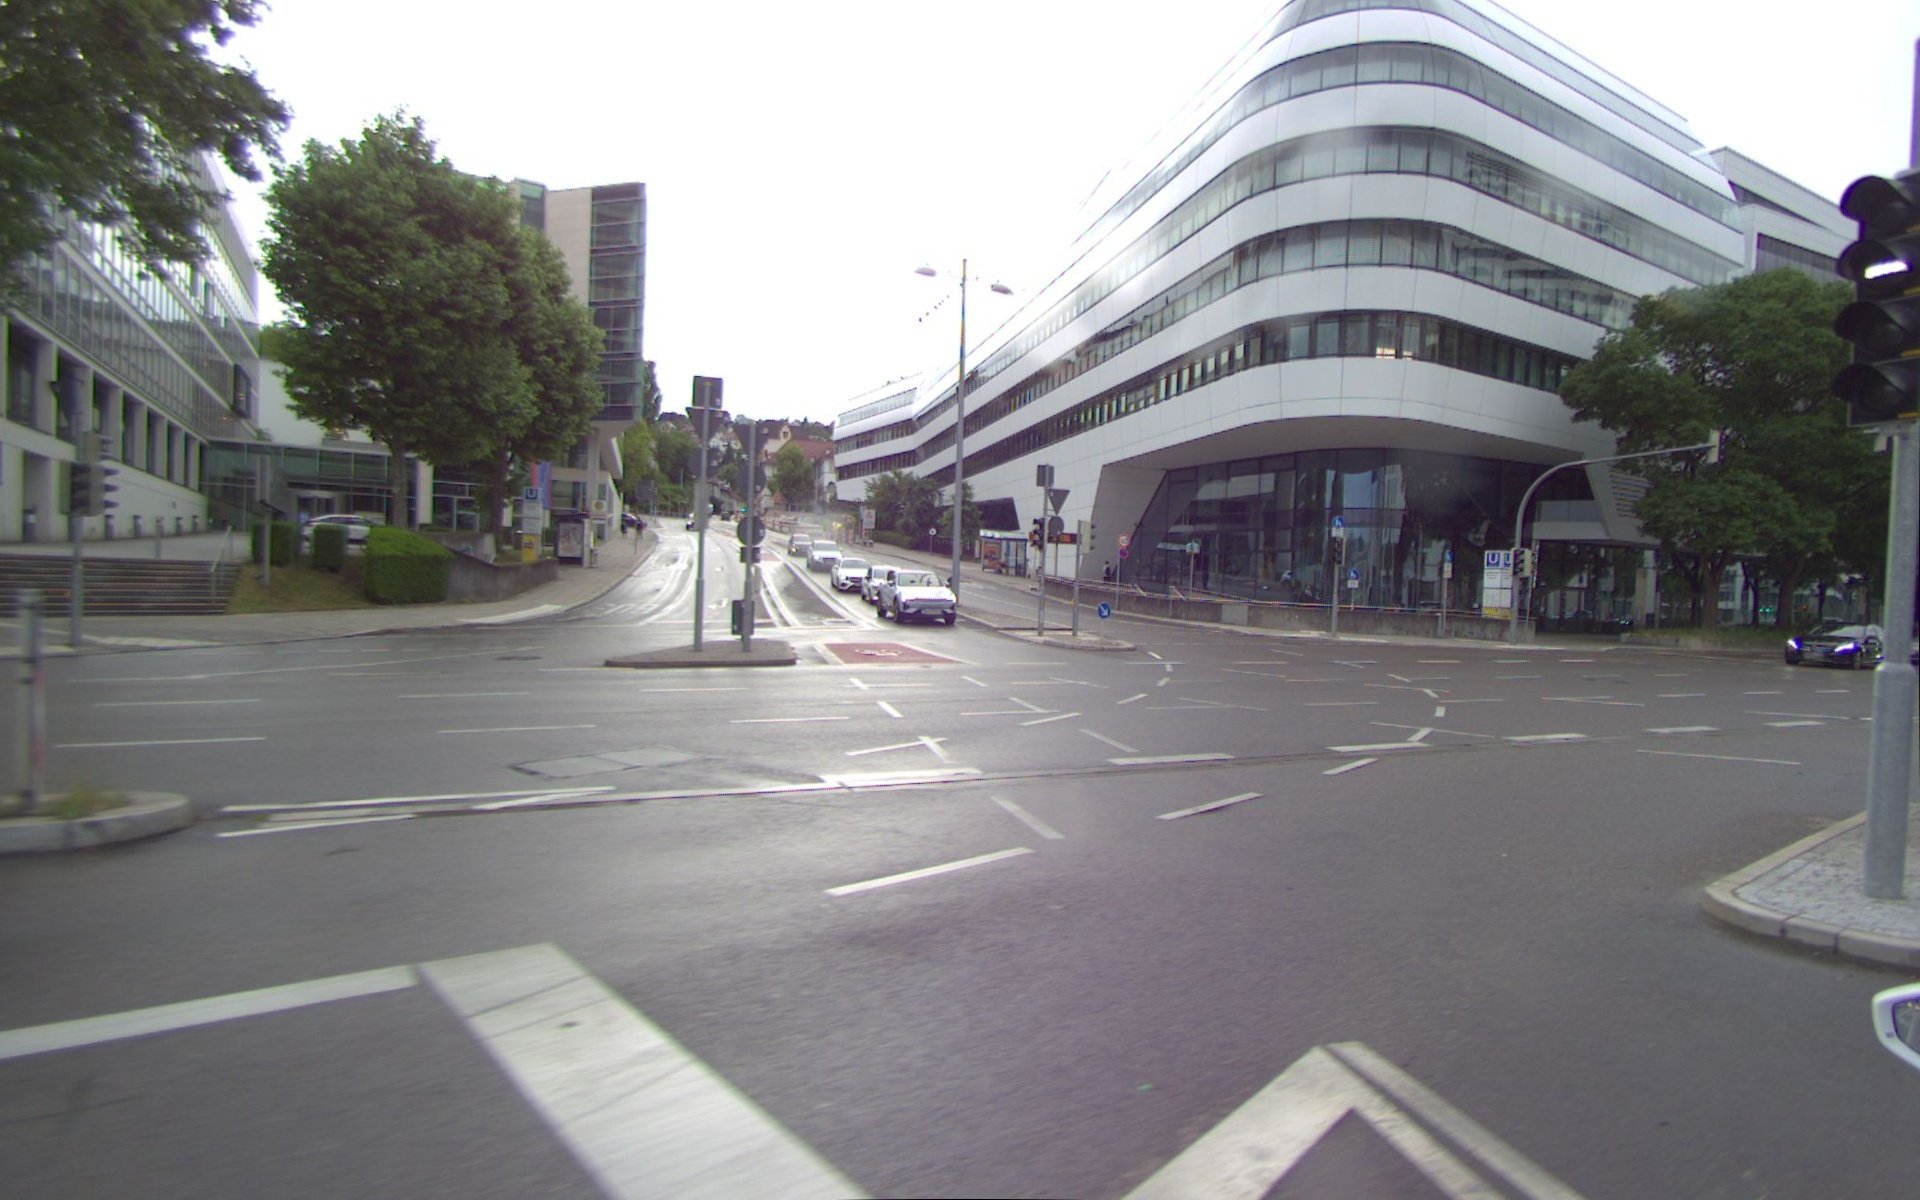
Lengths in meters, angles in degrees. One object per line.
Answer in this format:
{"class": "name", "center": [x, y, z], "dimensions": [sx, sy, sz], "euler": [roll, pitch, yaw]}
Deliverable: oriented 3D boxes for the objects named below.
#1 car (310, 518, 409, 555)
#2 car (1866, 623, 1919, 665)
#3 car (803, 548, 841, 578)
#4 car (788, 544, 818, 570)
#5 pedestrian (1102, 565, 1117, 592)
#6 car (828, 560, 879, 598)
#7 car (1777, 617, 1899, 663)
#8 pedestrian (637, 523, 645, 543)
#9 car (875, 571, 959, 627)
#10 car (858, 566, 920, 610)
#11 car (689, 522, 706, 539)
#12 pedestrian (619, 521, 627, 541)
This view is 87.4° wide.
{"class": "car", "center": [-27.784, -2.929, 46.605], "dimensions": [3.837, 1.428, 1.518], "euler": [2, 0, -31]}
{"class": "car", "center": [35.062, 1.617, 36.849], "dimensions": [3.498, 1.442, 1.735], "euler": [2, 0, -30]}
{"class": "car", "center": [-8.230, -2.208, 59.702], "dimensions": [1.862, 1.653, 3.988], "euler": [2, 2, -13]}
{"class": "car", "center": [-11.552, -3.172, 73.747], "dimensions": [1.862, 1.653, 3.988], "euler": [2, 5, -14]}
{"class": "pedestrian", "center": [9.186, -1.326, 61.755], "dimensions": [0.669, 1.586, 0.630], "euler": [2, 0, -14]}
{"class": "car", "center": [-5.019, -0.990, 46.950], "dimensions": [1.862, 1.653, 3.989], "euler": [2, 1, -13]}
{"class": "car", "center": [28.337, 1.299, 32.405], "dimensions": [4.176, 1.346, 1.735], "euler": [2, 0, -30]}
{"class": "pedestrian", "center": [-26.572, -5.577, 83.632], "dimensions": [0.586, 1.632, 0.686], "euler": [2, 0, -18]}
{"class": "car", "center": [-1.489, -0.032, 32.884], "dimensions": [1.862, 1.653, 4.504], "euler": [2, 0, -13]}
{"class": "car", "center": [-2.969, -0.456, 41.041], "dimensions": [1.862, 1.653, 3.989], "euler": [2, 0, -13]}
{"class": "car", "center": [-30.415, -8.031, 116.482], "dimensions": [1.816, 1.684, 3.987], "euler": [2, 6, -14]}
{"class": "pedestrian", "center": [-27.902, -5.723, 83.140], "dimensions": [0.586, 1.632, 0.686], "euler": [2, 0, -18]}
